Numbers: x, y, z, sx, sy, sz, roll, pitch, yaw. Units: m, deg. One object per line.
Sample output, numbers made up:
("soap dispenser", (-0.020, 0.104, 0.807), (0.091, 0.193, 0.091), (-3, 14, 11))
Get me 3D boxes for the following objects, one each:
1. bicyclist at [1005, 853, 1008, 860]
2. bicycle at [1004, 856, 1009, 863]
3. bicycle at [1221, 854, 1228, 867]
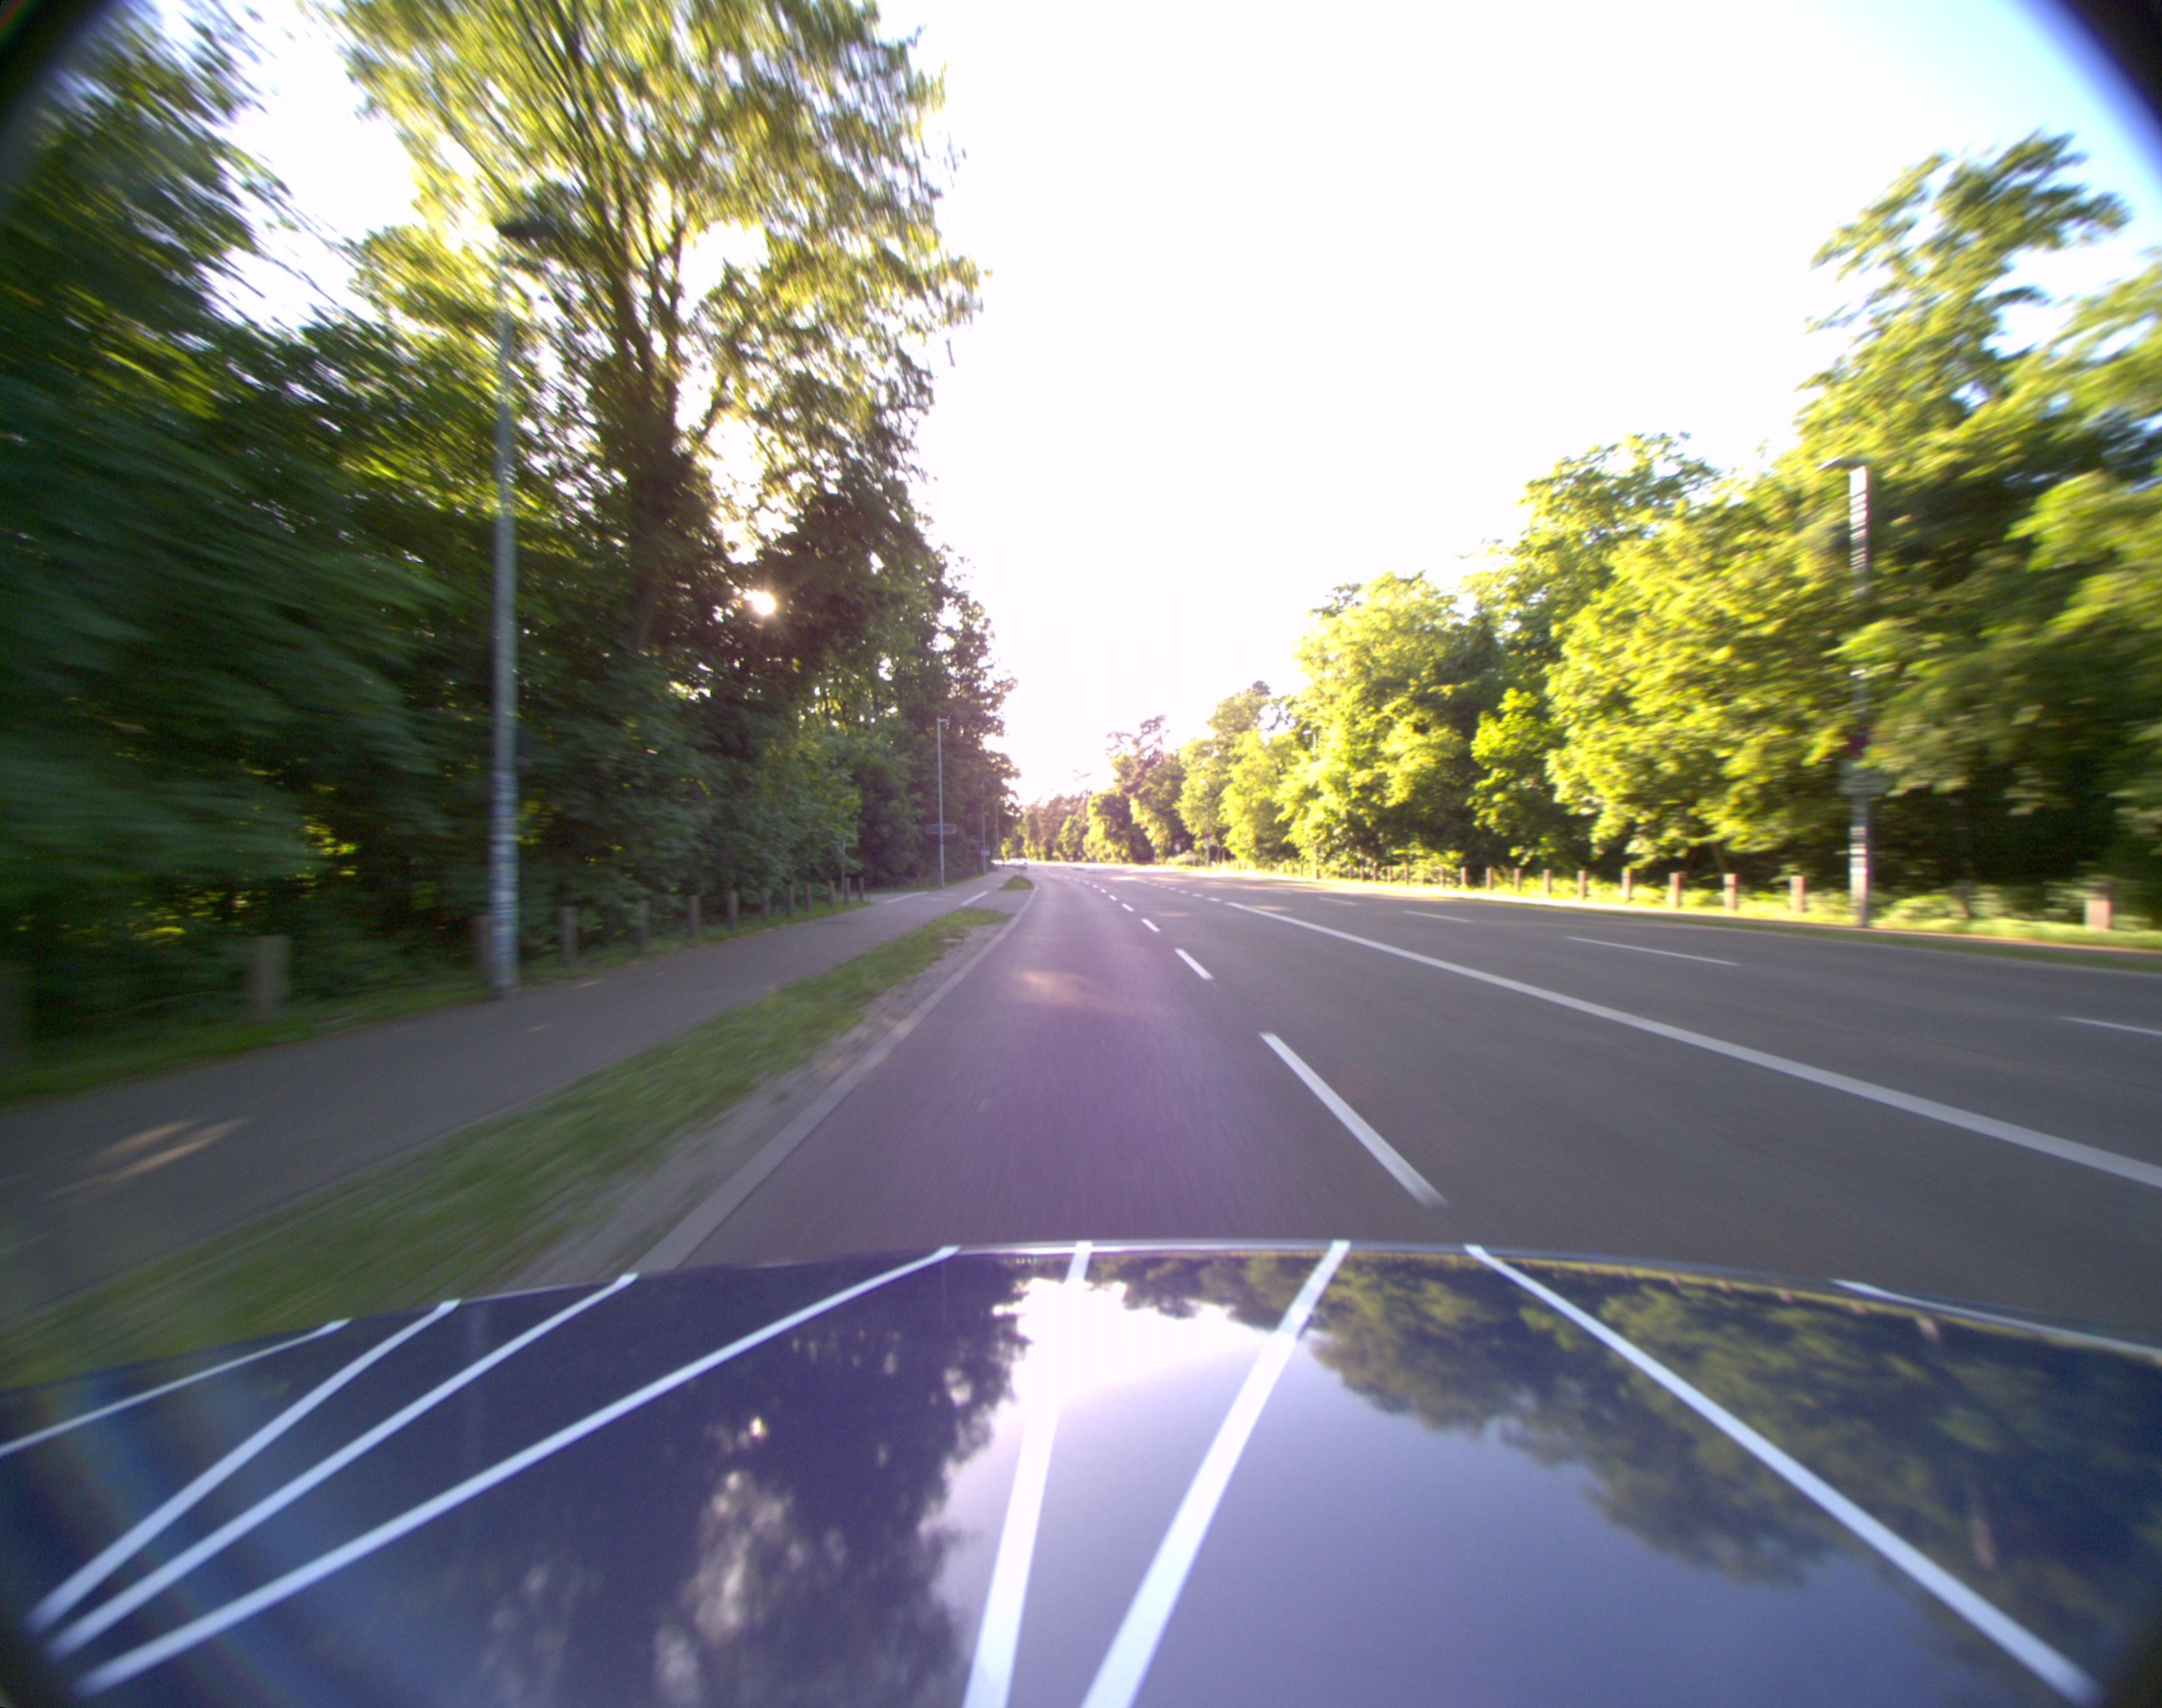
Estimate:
("bicyclist", (-12.741, 0.429, 129.489), (0.514, 1.260, 0.497), (-1, 1, -9))
("bicycle", (-12.729, 0.919, 129.625), (0.609, 1.051, 2.872), (-1, 0, -9))
("bicycle", (12.950, 0.610, 68.591), (0.402, 1.125, 2.220), (-3, 1, 6))
